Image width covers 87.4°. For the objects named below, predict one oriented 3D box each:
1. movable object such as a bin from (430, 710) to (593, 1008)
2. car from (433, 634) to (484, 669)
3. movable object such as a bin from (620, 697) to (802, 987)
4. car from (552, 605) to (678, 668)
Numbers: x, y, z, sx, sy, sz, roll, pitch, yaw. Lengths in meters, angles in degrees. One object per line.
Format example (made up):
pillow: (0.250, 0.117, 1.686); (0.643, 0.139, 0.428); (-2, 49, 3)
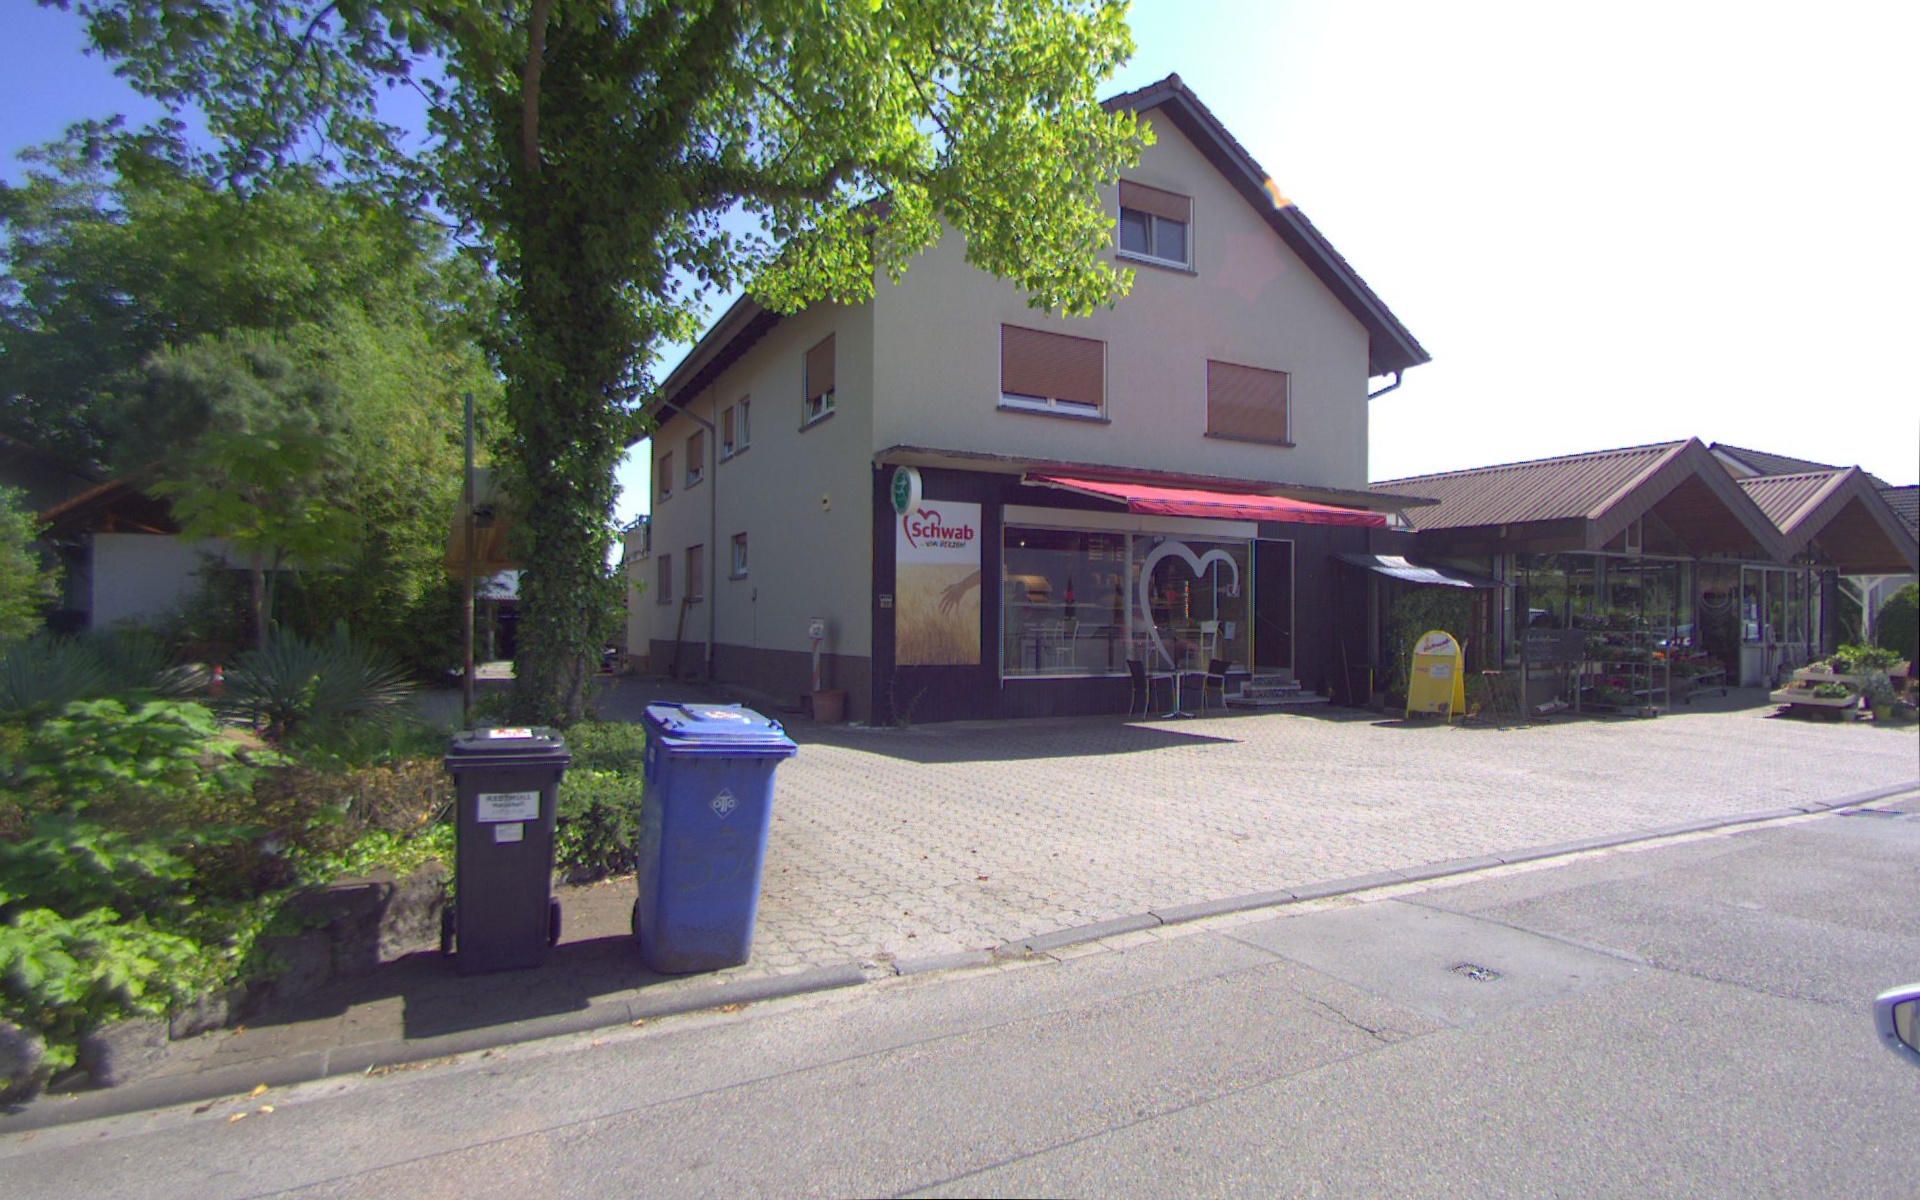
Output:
movable object such as a bin: (-1.864, 1.013, 4.155); (0.561, 1.038, 0.580); (1, 0, -29)
car: (-22.468, 2.265, 45.083); (1.877, 1.461, 3.976); (1, -2, -25)
movable object such as a bin: (-1.120, 1.008, 4.457); (0.605, 1.068, 0.728); (1, 0, -29)
car: (-14.262, 1.495, 41.561); (4.595, 2.441, 2.178); (1, -2, -30)
